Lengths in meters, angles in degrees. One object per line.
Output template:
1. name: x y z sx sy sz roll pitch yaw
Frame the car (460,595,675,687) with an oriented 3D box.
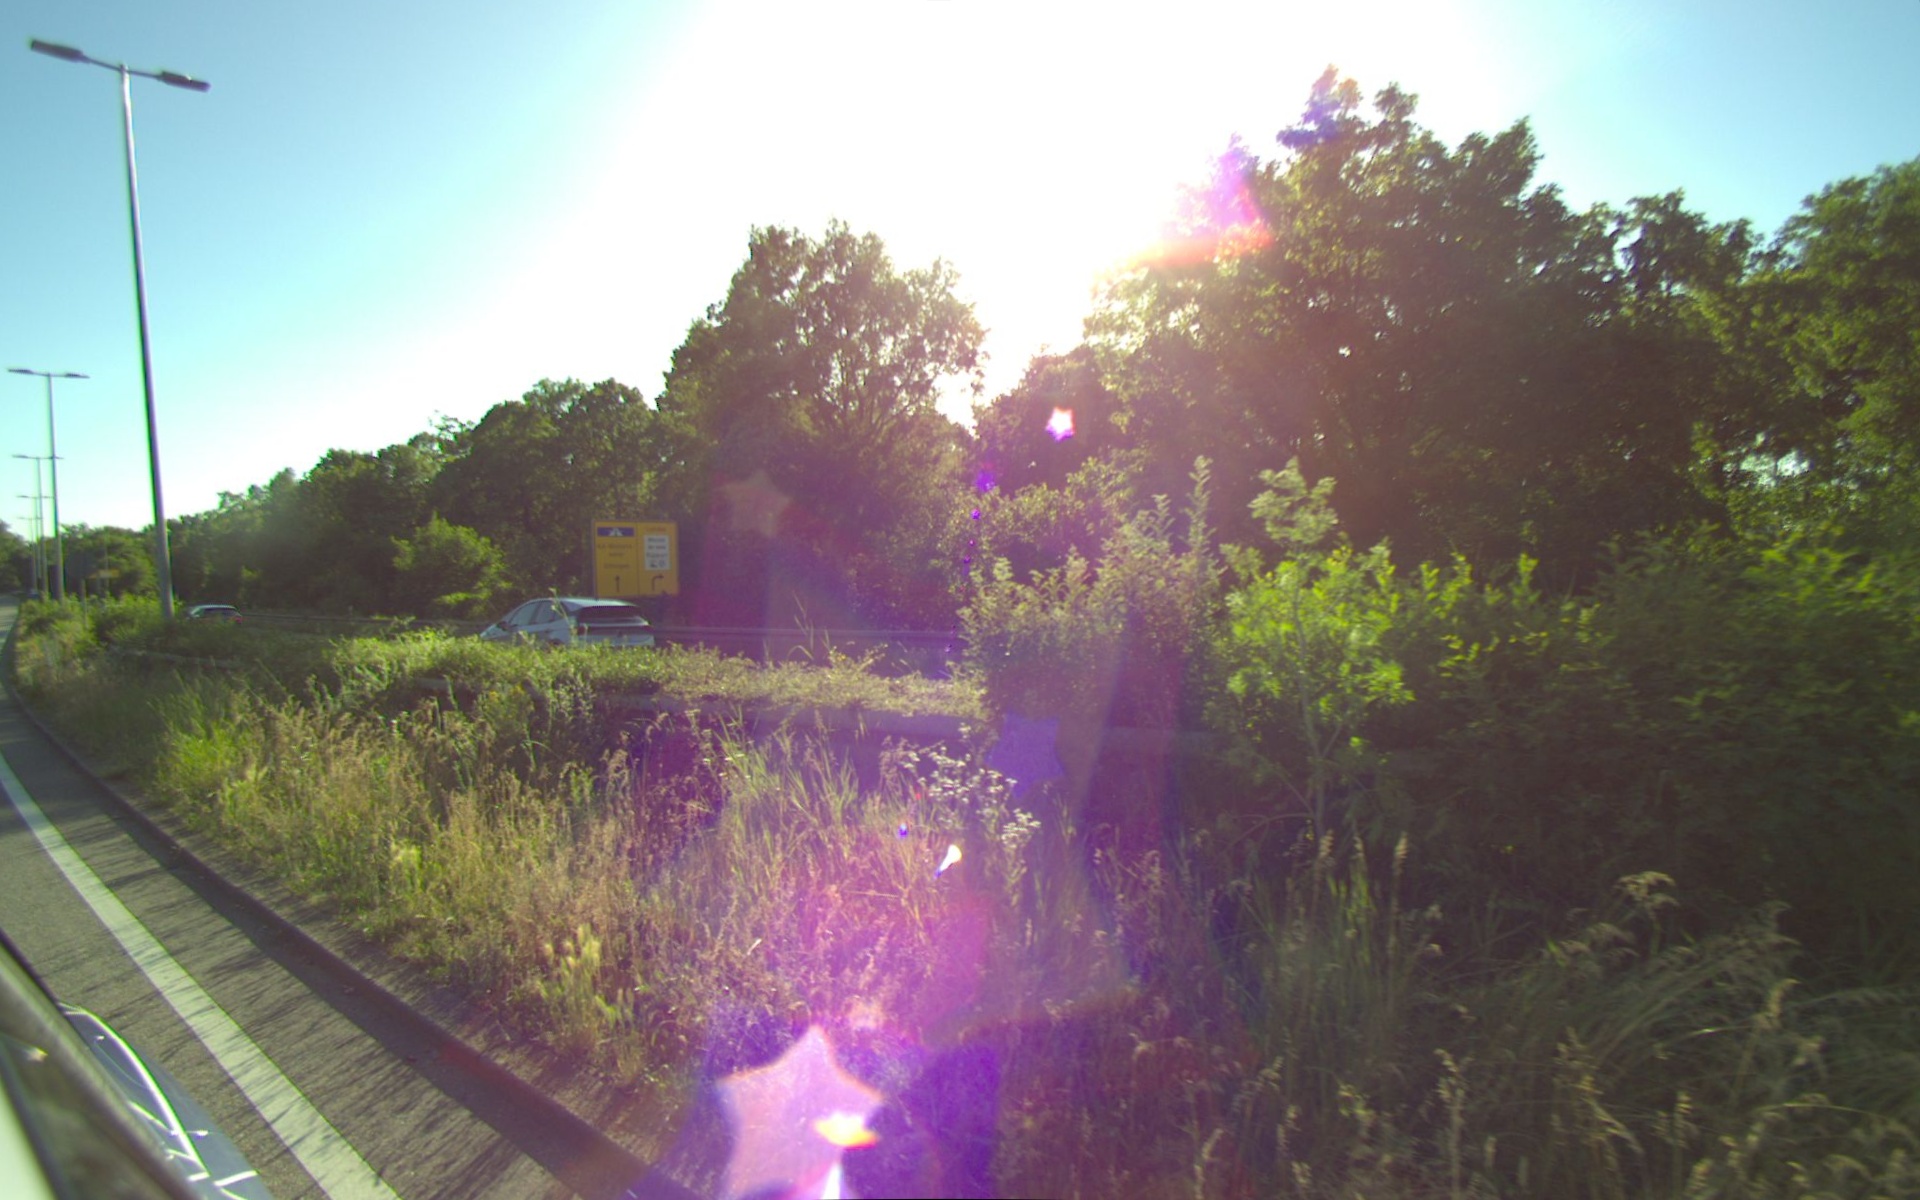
1. car: -7.461 0.741 19.097 4.210 1.532 1.868 -2 0 38

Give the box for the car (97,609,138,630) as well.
1. car: -60.013 1.380 72.038 4.533 1.427 1.785 -1 0 45

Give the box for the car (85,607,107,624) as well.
1. car: -96.397 1.747 112.928 1.667 1.700 3.625 -3 0 -43

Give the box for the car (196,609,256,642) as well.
1. car: -33.719 1.155 46.441 1.862 1.431 4.371 0 -1 -41
